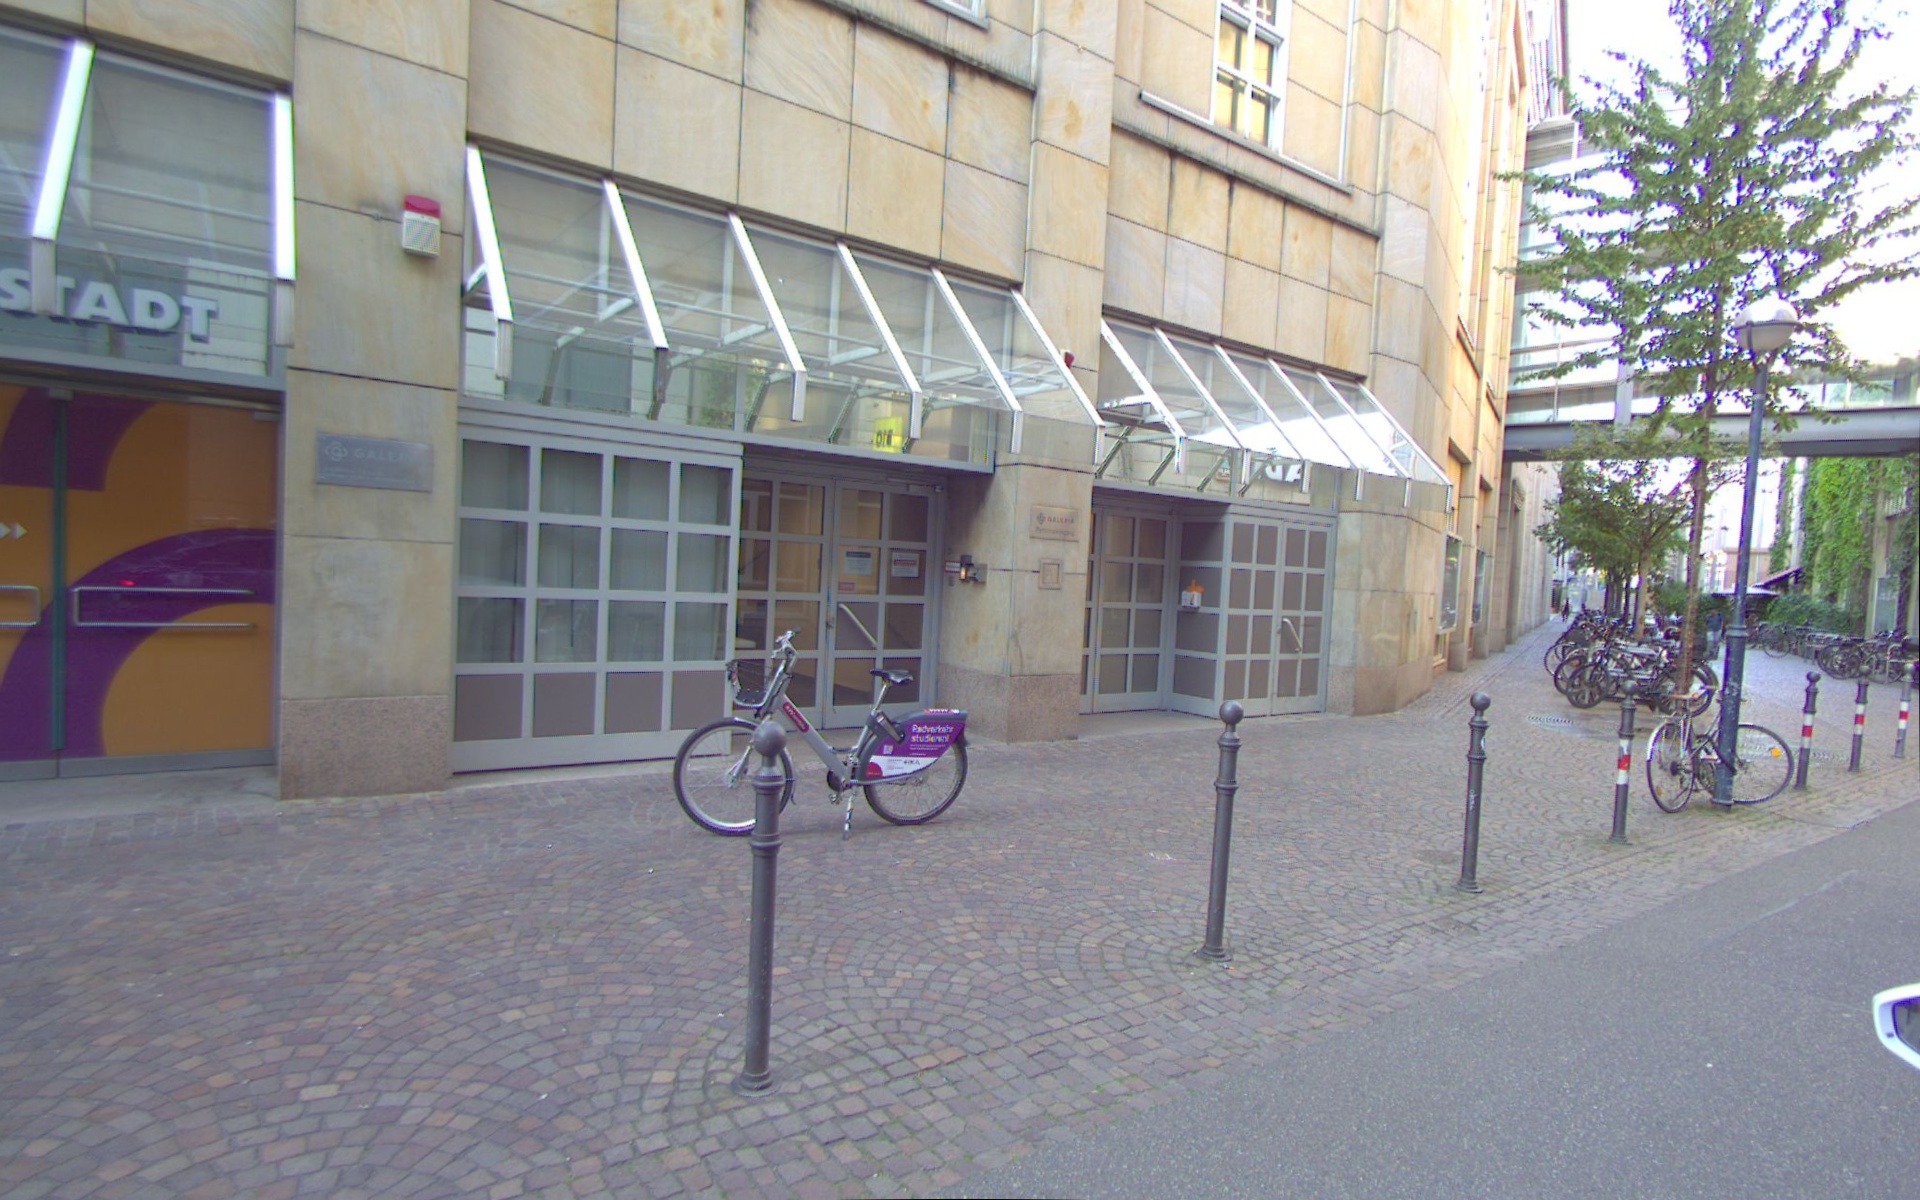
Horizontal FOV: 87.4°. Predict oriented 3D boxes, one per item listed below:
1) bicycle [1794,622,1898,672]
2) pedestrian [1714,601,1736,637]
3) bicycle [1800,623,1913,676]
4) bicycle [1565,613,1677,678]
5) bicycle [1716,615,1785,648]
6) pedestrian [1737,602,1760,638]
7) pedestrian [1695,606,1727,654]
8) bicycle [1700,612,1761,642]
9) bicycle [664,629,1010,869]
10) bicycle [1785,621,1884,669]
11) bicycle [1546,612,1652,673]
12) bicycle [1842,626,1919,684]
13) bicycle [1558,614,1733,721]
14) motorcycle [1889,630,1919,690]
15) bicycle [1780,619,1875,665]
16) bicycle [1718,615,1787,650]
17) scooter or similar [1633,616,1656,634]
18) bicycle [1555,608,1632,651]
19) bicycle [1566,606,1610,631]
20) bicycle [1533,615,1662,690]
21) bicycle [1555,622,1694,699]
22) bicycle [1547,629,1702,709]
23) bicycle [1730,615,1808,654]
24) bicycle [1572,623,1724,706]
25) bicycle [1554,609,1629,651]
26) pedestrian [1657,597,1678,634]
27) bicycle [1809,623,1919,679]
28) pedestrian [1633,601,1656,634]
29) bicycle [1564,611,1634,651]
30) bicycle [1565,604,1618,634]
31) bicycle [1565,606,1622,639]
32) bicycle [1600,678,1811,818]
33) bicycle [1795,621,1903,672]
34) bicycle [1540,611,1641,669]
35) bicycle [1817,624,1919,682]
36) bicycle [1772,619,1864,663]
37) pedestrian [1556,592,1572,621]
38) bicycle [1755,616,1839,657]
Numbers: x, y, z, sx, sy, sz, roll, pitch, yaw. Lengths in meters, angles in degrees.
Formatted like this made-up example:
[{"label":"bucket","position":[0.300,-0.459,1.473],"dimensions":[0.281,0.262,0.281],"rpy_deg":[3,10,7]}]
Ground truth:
[{"label":"bicycle","position":[23.567,1.230,26.770],"dimensions":[1.967,1.198,0.692],"rpy_deg":[2,1,35]},{"label":"pedestrian","position":[40.419,1.002,53.091],"dimensions":[0.763,1.828,0.765],"rpy_deg":[3,2,32]},{"label":"bicycle","position":[22.038,1.198,24.750],"dimensions":[1.967,1.198,0.800],"rpy_deg":[2,1,35]},{"label":"bicycle","position":[14.004,0.943,21.294],"dimensions":[1.889,1.198,0.693],"rpy_deg":[4,2,37]},{"label":"bicycle","position":[30.038,1.183,38.203],"dimensions":[1.967,1.198,0.692],"rpy_deg":[2,1,35]},{"label":"pedestrian","position":[41.035,1.054,52.294],"dimensions":[0.763,1.828,0.765],"rpy_deg":[3,2,32]},{"label":"pedestrian","position":[24.764,0.990,33.133],"dimensions":[0.737,1.529,0.636],"rpy_deg":[3,2,32]},{"label":"bicycle","position":[32.501,1.129,42.404],"dimensions":[1.967,1.198,0.692],"rpy_deg":[2,1,35]},{"label":"bicycle","position":[-0.680,0.762,5.531],"dimensions":[1.750,1.127,0.692],"rpy_deg":[2,2,-22]},{"label":"bicycle","position":[24.019,1.228,27.641],"dimensions":[1.967,1.198,0.692],"rpy_deg":[2,1,35]},{"label":"bicycle","position":[14.177,0.920,22.311],"dimensions":[1.889,1.198,0.693],"rpy_deg":[4,2,37]},{"label":"bicycle","position":[20.593,1.197,21.877],"dimensions":[1.967,1.198,0.694],"rpy_deg":[2,1,35]},{"label":"bicycle","position":[9.419,0.889,13.891],"dimensions":[1.887,1.278,0.806],"rpy_deg":[4,2,34]},{"label":"motorcycle","position":[19.826,1.229,20.097],"dimensions":[1.724,1.171,0.592],"rpy_deg":[2,1,37]},{"label":"bicycle","position":[24.755,1.179,28.719],"dimensions":[1.967,1.198,0.692],"rpy_deg":[2,1,35]},{"label":"bicycle","position":[29.555,1.194,37.498],"dimensions":[1.967,1.198,0.692],"rpy_deg":[2,1,35]},{"label":"scooter or similar","position":[35.204,1.272,51.675],"dimensions":[0.879,0.854,0.909],"rpy_deg":[3,2,32]},{"label":"bicycle","position":[19.496,0.884,30.939],"dimensions":[1.889,1.198,0.693],"rpy_deg":[4,2,37]},{"label":"bicycle","position":[33.694,0.988,53.897],"dimensions":[1.889,1.198,0.693],"rpy_deg":[4,2,37]},{"label":"bicycle","position":[11.620,0.927,18.338],"dimensions":[1.889,1.198,0.693],"rpy_deg":[4,2,37]},{"label":"bicycle","position":[11.349,1.004,17.182],"dimensions":[1.889,1.116,0.693],"rpy_deg":[4,2,37]},{"label":"bicycle","position":[10.104,1.019,15.336],"dimensions":[1.887,1.007,0.694],"rpy_deg":[4,2,34]},{"label":"bicycle","position":[27.361,1.155,34.014],"dimensions":[1.967,1.198,0.692],"rpy_deg":[2,1,35]},{"label":"bicycle","position":[10.834,0.990,15.881],"dimensions":[1.887,1.116,0.694],"rpy_deg":[4,2,34]},{"label":"bicycle","position":[19.923,0.934,31.715],"dimensions":[1.889,1.198,0.693],"rpy_deg":[4,2,37]},{"label":"pedestrian","position":[36.226,0.770,51.406],"dimensions":[0.754,1.828,0.775],"rpy_deg":[3,2,32]},{"label":"bicycle","position":[21.403,1.188,23.709],"dimensions":[1.967,1.198,0.800],"rpy_deg":[2,1,35]},{"label":"pedestrian","position":[35.714,0.891,52.422],"dimensions":[0.879,1.661,0.909],"rpy_deg":[3,2,32]},{"label":"bicycle","position":[21.680,1.045,34.089],"dimensions":[1.889,1.198,0.693],"rpy_deg":[4,2,37]},{"label":"bicycle","position":[28.317,0.848,45.038],"dimensions":[1.889,1.198,0.693],"rpy_deg":[4,2,37]},{"label":"bicycle","position":[26.072,0.914,41.343],"dimensions":[1.889,1.198,0.693],"rpy_deg":[4,2,37]},{"label":"bicycle","position":[5.921,1.138,7.969],"dimensions":[1.670,0.979,0.504],"rpy_deg":[2,2,-22]},{"label":"bicycle","position":[22.936,1.182,25.971],"dimensions":[1.967,1.198,0.800],"rpy_deg":[2,1,35]},{"label":"bicycle","position":[14.674,0.908,23.390],"dimensions":[1.889,1.198,0.693],"rpy_deg":[4,2,37]},{"label":"bicycle","position":[20.901,1.193,22.909],"dimensions":[1.967,1.198,0.694],"rpy_deg":[2,1,35]},{"label":"bicycle","position":[25.347,1.203,29.719],"dimensions":[1.967,1.198,0.692],"rpy_deg":[2,1,35]},{"label":"pedestrian","position":[38.853,0.419,64.622],"dimensions":[0.763,1.828,0.632],"rpy_deg":[3,2,32]},{"label":"bicycle","position":[26.605,1.158,31.979],"dimensions":[1.967,1.198,0.692],"rpy_deg":[2,1,35]}]
